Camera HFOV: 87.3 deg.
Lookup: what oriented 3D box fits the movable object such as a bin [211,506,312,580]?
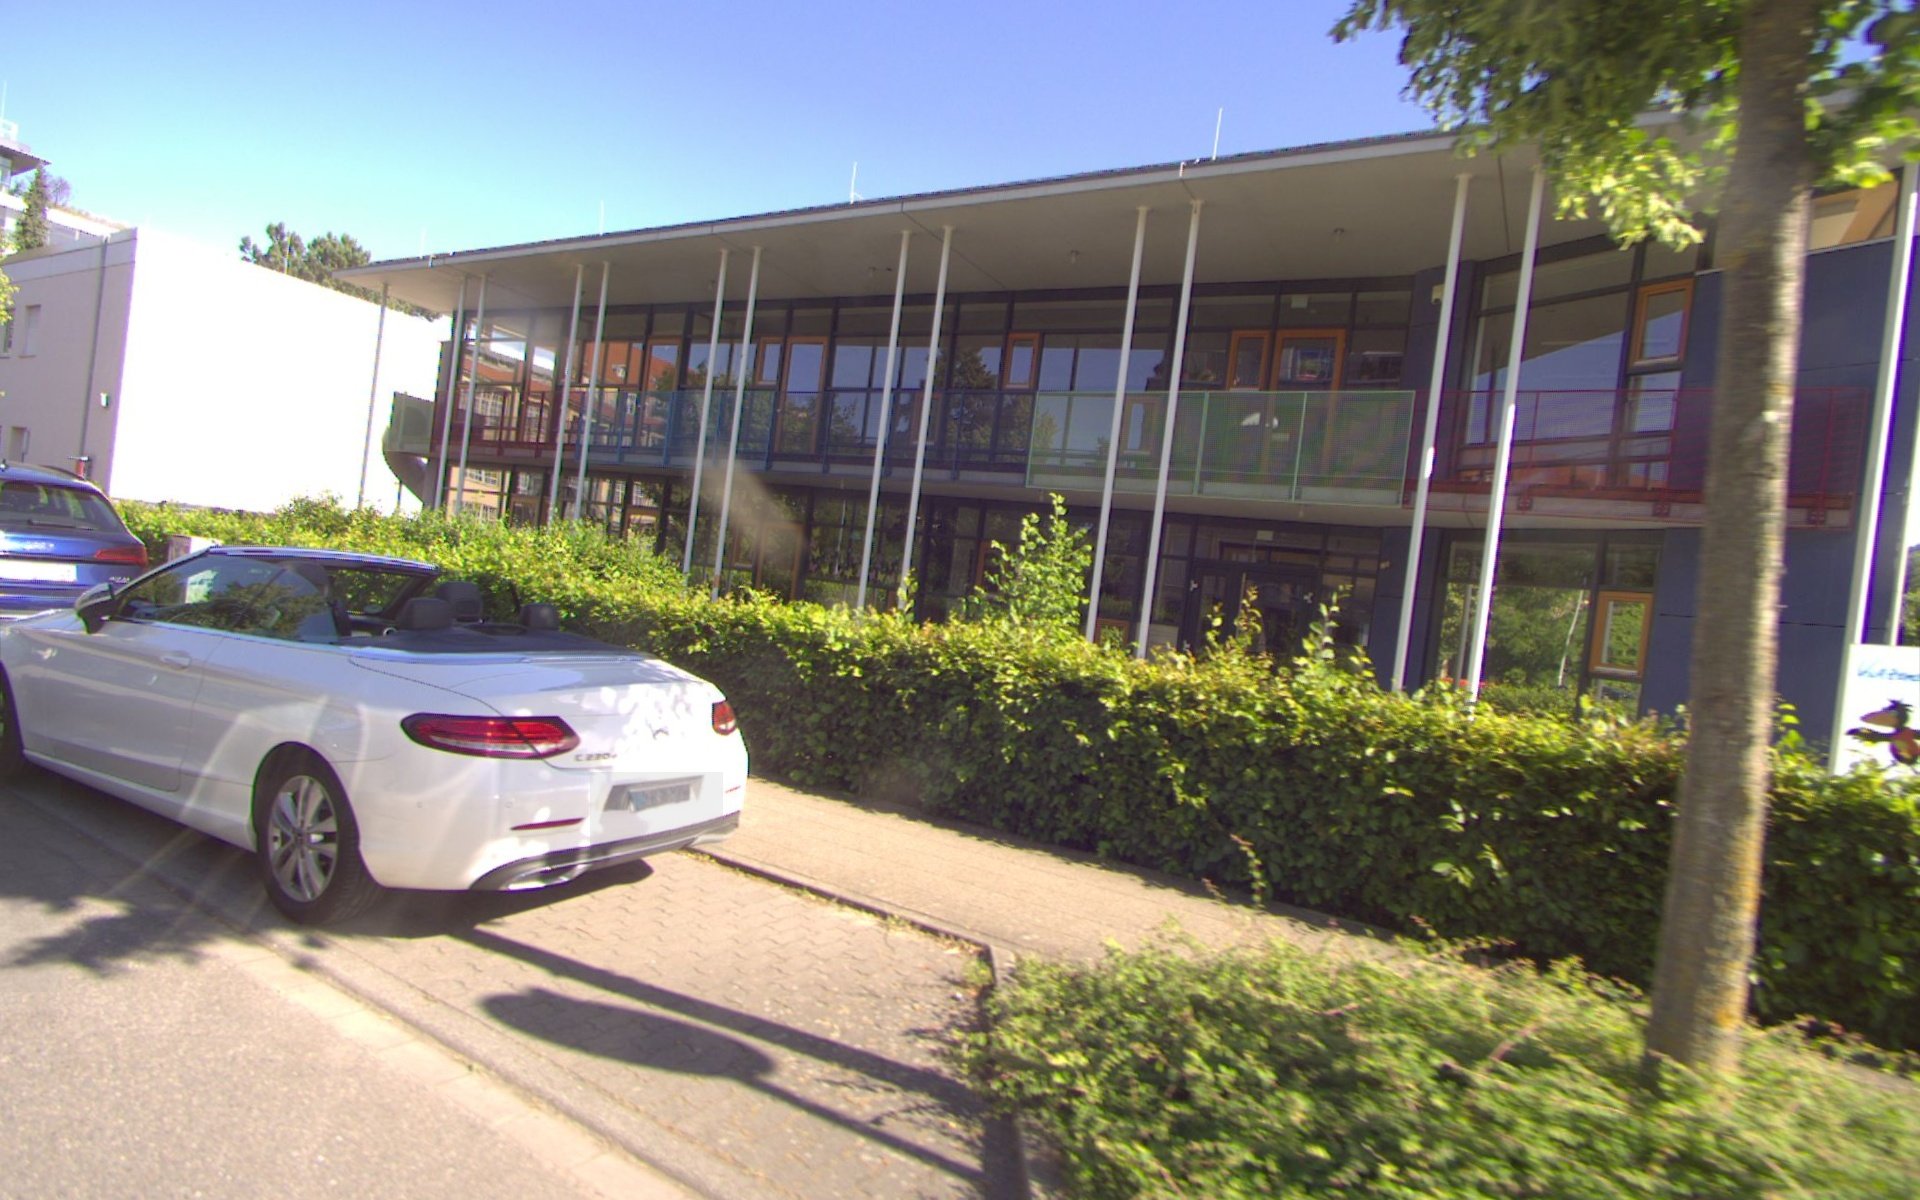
[{"bbox_3d":[-16.515,-1.334,23.779,1.604,1.466,1.331,8,1,32],"label":"movable object such as a bin"}]

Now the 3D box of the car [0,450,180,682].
[{"bbox_3d":[-8.799,-0.467,8.631,4.338,1.704,1.901,7,2,32],"label":"car"}]

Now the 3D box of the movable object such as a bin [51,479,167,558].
[{"bbox_3d":[-18.160,-1.735,21.476,1.604,1.374,1.368,8,1,32],"label":"movable object such as a bin"}]

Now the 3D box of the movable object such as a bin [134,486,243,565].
[{"bbox_3d":[-17.378,-1.672,22.671,1.604,1.466,1.368,8,1,32],"label":"movable object such as a bin"}]

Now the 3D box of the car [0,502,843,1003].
[{"bbox_3d":[-3.144,0.388,5.155,4.693,1.337,1.964,7,2,28],"label":"car"}]
